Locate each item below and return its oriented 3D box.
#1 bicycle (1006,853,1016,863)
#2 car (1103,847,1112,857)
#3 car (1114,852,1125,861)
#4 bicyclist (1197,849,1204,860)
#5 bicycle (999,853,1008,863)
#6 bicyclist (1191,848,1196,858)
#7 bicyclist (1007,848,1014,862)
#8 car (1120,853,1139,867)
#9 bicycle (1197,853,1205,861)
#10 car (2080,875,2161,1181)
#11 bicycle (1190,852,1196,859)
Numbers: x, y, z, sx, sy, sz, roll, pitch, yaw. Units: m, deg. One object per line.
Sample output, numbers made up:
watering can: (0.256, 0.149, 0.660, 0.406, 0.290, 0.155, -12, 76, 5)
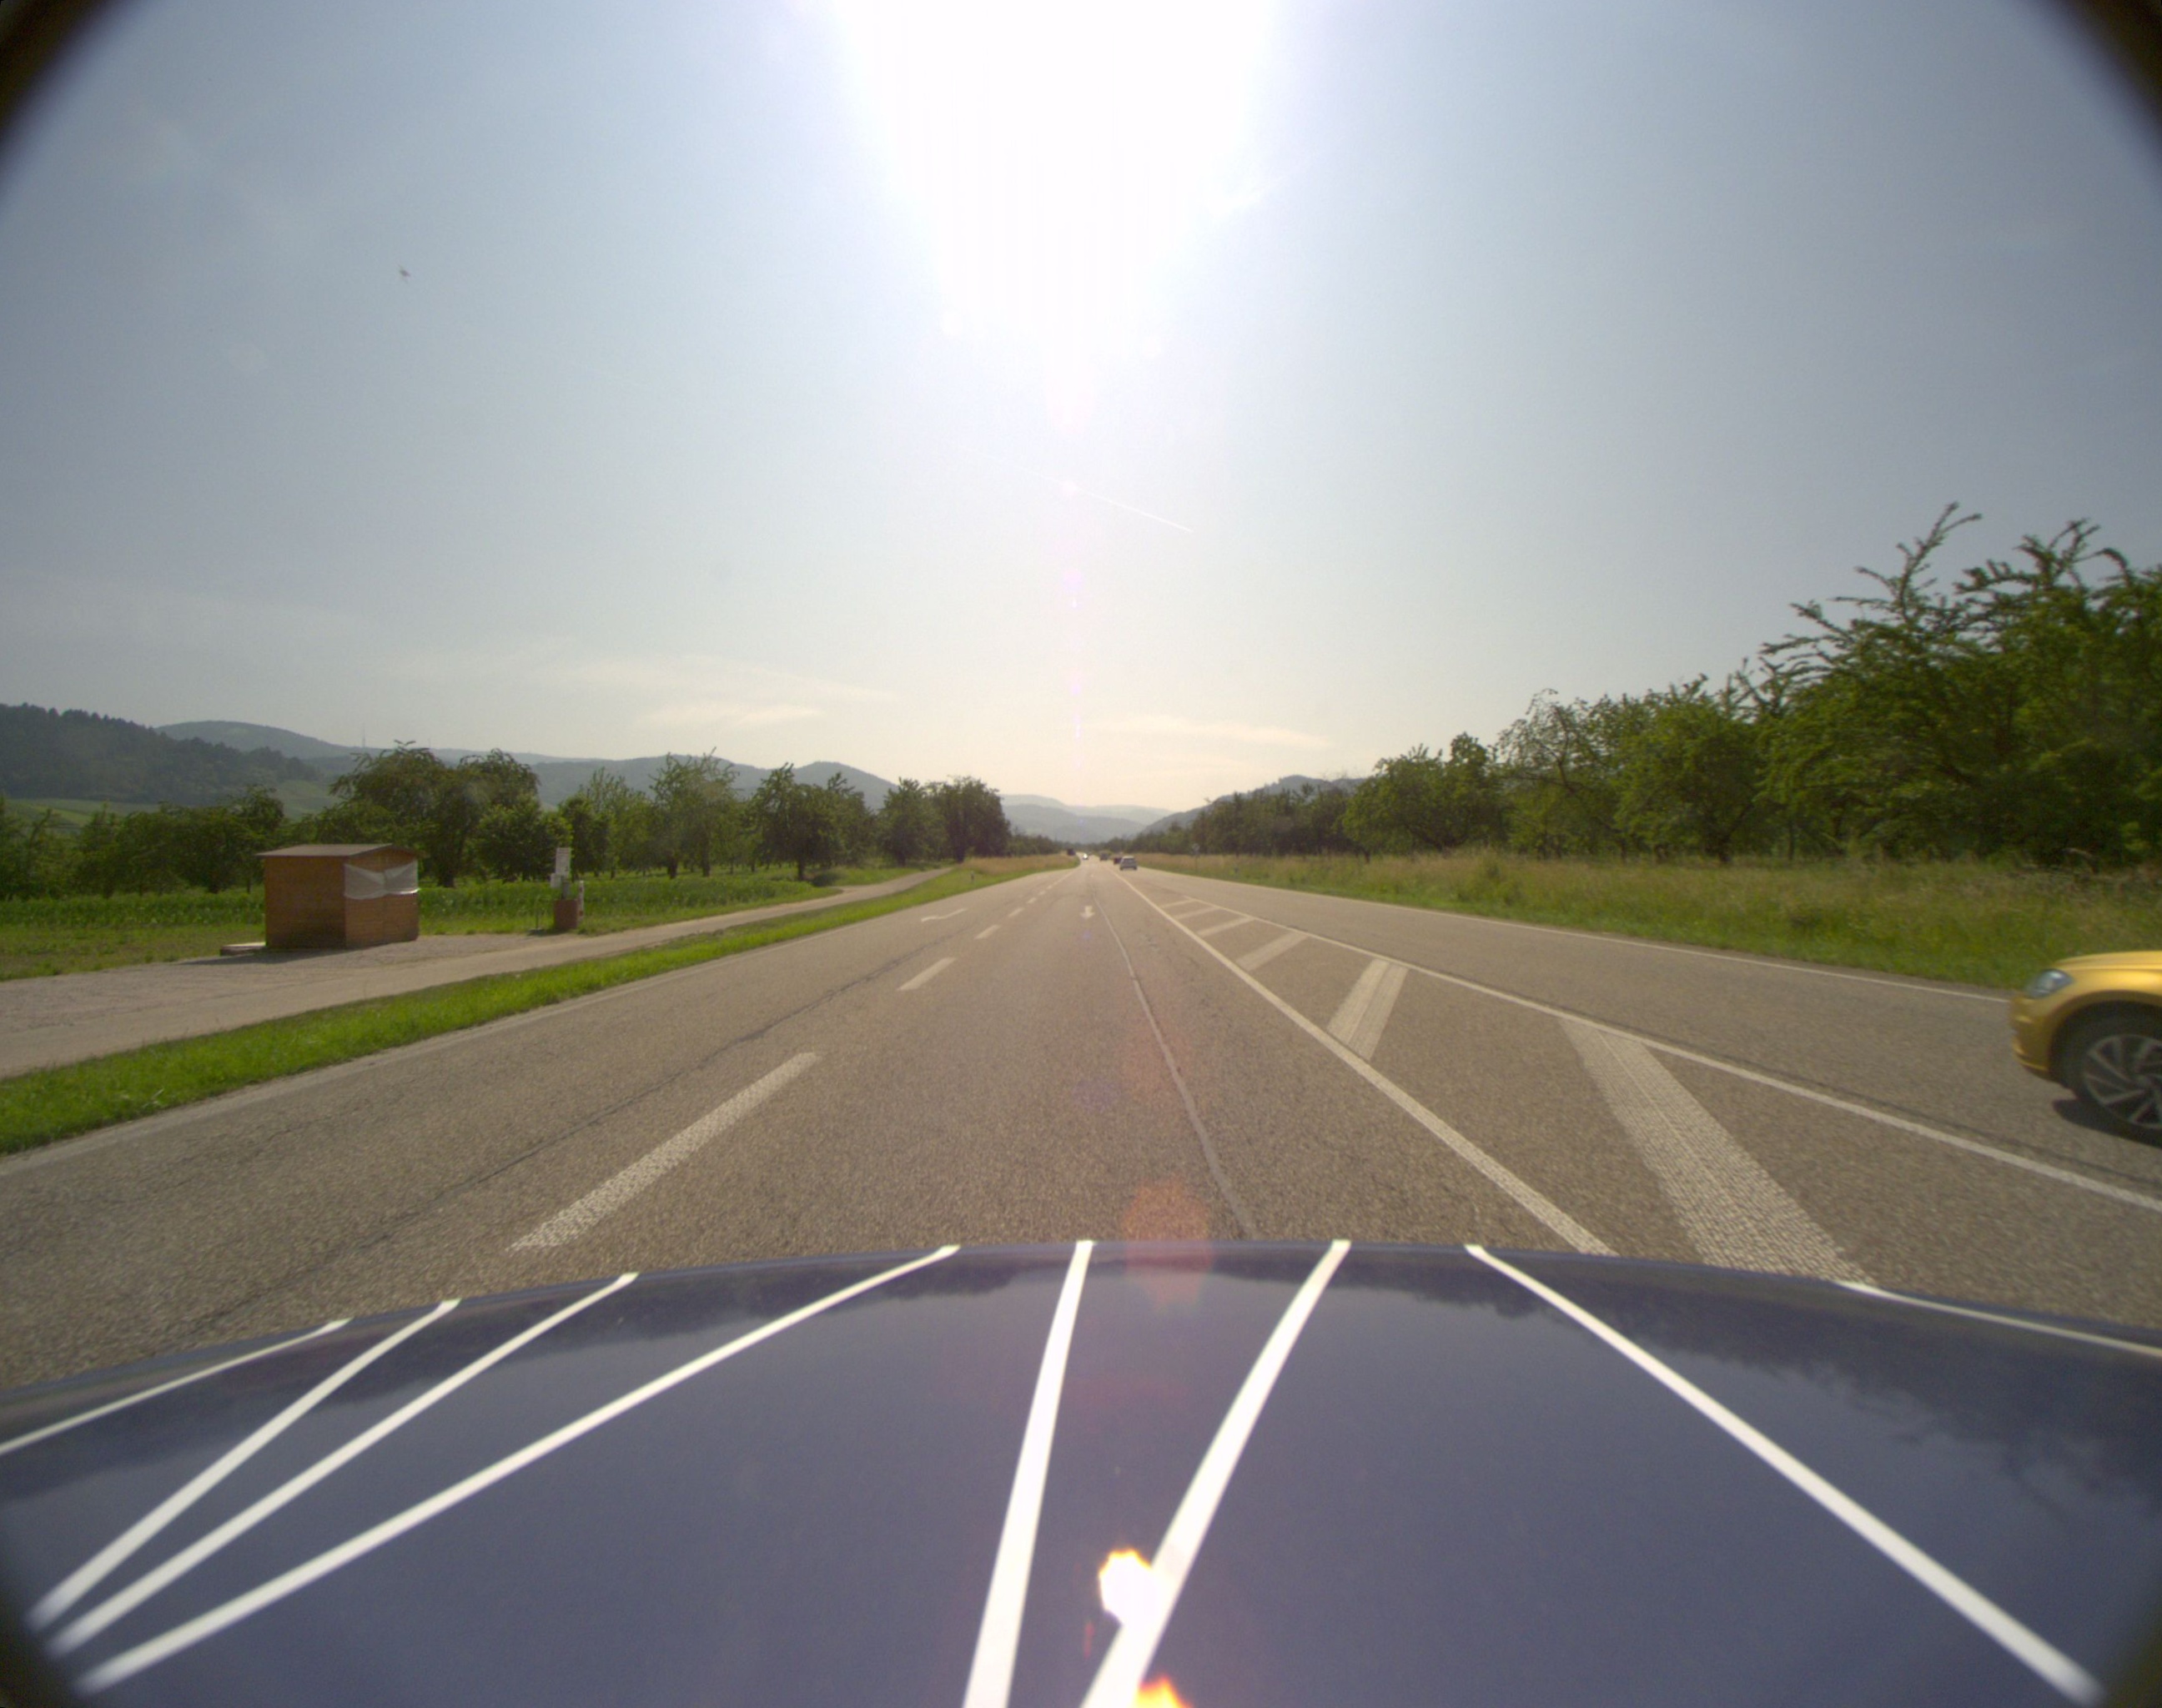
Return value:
bicycle: (-9.348, 0.528, 101.267, 0.751, 1.410, 2.223, 0, 0, 10)
car: (7.258, -0.586, 209.092, 2.166, 2.653, 6.142, -2, 1, 0)
car: (6.740, 0.492, 132.487, 1.629, 1.448, 3.621, -2, 0, 0)
bicyclist: (16.020, 0.056, 101.872, 0.742, 1.446, 0.863, -2, 2, 2)
bicycle: (-10.370, 0.550, 101.778, 0.751, 1.410, 2.223, 0, 0, 10)
bicyclist: (16.669, -0.163, 112.845, 0.643, 1.406, 0.863, -2, 2, 2)
bicyclist: (-9.353, 0.164, 101.248, 0.751, 1.856, 0.870, 0, 1, 10)
car: (5.346, 0.637, 83.921, 1.679, 1.485, 4.136, -2, 0, 0)
bicycle: (16.031, 0.429, 101.881, 0.742, 0.984, 2.225, -2, 1, 2)
car: (5.897, 0.808, 1.920, 1.701, 1.408, 3.824, -1, 0, -1)
bicycle: (16.682, 0.229, 112.864, 0.650, 0.984, 1.955, -2, 1, 2)
